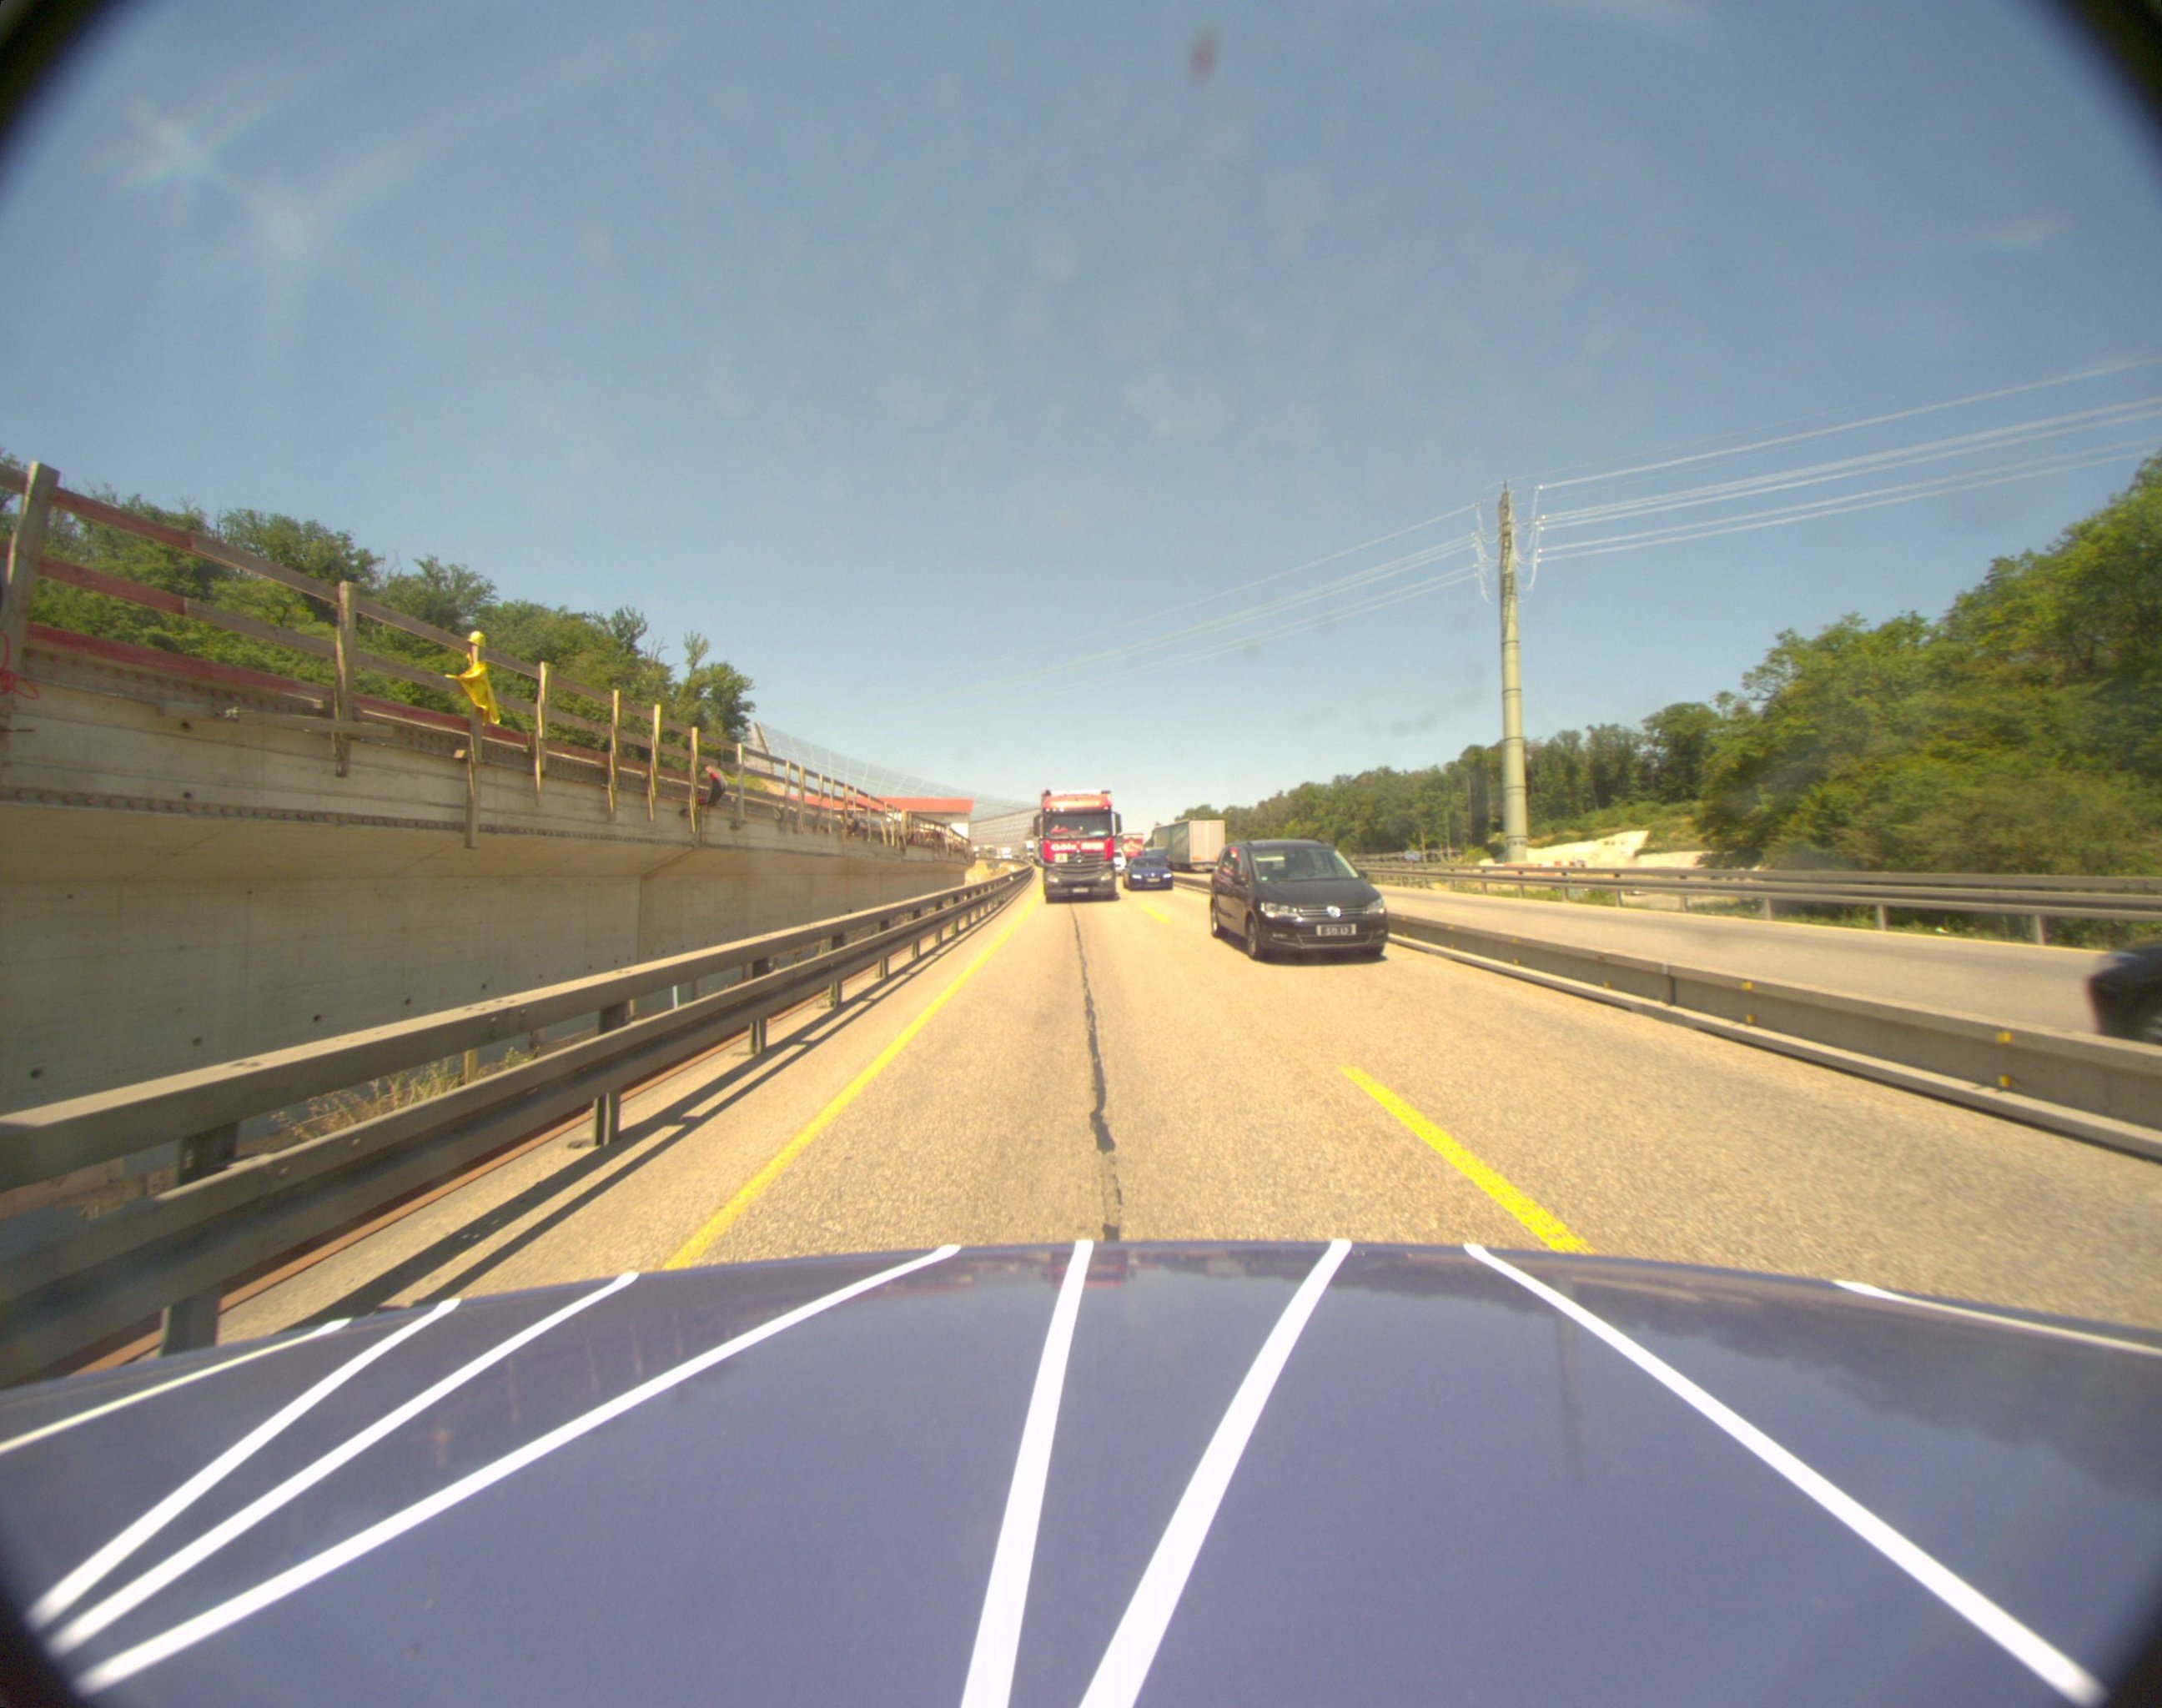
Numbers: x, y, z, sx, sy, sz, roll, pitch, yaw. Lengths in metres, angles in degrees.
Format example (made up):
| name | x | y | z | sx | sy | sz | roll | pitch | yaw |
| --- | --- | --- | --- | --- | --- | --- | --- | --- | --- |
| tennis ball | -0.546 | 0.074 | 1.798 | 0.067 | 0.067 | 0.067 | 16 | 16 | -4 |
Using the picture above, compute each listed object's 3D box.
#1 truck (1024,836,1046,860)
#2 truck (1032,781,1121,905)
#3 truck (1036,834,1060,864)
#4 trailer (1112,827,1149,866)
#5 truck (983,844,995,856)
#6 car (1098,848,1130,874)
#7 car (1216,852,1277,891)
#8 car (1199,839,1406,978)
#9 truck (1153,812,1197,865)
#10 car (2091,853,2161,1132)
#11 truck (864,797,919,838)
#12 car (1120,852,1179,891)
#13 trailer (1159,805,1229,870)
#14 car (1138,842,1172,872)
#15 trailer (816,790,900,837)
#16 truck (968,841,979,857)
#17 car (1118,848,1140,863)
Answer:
| name | x | y | z | sx | sy | sz | roll | pitch | yaw |
| --- | --- | --- | --- | --- | --- | --- | --- | --- | --- |
| truck | -8.736 | -1.205 | 142.934 | 2.912 | 4.208 | 9.231 | -2 | 1 | -10 |
| truck | -0.244 | -0.475 | 30.139 | 2.798 | 3.986 | 10.426 | -2 | 1 | -1 |
| truck | -4.793 | -0.813 | 107.550 | 2.673 | 3.986 | 10.422 | -2 | 1 | -6 |
| trailer | 6.468 | -0.936 | 102.788 | 3.073 | 4.787 | 13.996 | -2 | 0 | -4 |
| truck | -28.228 | -1.252 | 233.556 | 3.042 | 3.725 | 8.245 | -2 | 1 | -4 |
| car | 2.419 | 0.517 | 57.025 | 1.947 | 1.858 | 5.222 | -2 | 0 | -3 |
| car | 6.886 | 0.682 | 32.009 | 1.585 | 1.513 | 4.153 | -2 | 0 | -1 |
| car | 3.198 | 0.700 | 12.197 | 1.861 | 1.695 | 5.304 | -2 | 0 | 1 |
| truck | 8.511 | -1.448 | 69.589 | 2.854 | 4.554 | 5.784 | -2 | 1 | -4 |
| car | 6.537 | 0.715 | 1.958 | 1.786 | 1.470 | 4.621 | -2 | 0 | 2 |
| truck | -19.018 | -3.566 | 76.567 | 2.714 | 3.672 | 5.721 | -1 | -2 | 19 |
| car | 2.940 | 0.733 | 33.636 | 1.896 | 1.546 | 4.785 | -2 | 0 | -3 |
| trailer | 8.916 | -1.297 | 62.030 | 2.841 | 4.615 | 14.575 | -2 | 1 | -2 |
| car | 5.801 | 0.180 | 59.952 | 1.999 | 2.161 | 4.830 | -2 | 1 | -2 |
| trailer | -20.778 | -3.664 | 71.493 | 2.714 | 3.672 | 9.011 | -1 | -2 | 19 |
| truck | -34.766 | -1.606 | 245.048 | 3.044 | 4.778 | 8.931 | -2 | 1 | -11 |
| car | 5.158 | 0.155 | 81.996 | 1.907 | 1.454 | 4.755 | -2 | 1 | -1 |
